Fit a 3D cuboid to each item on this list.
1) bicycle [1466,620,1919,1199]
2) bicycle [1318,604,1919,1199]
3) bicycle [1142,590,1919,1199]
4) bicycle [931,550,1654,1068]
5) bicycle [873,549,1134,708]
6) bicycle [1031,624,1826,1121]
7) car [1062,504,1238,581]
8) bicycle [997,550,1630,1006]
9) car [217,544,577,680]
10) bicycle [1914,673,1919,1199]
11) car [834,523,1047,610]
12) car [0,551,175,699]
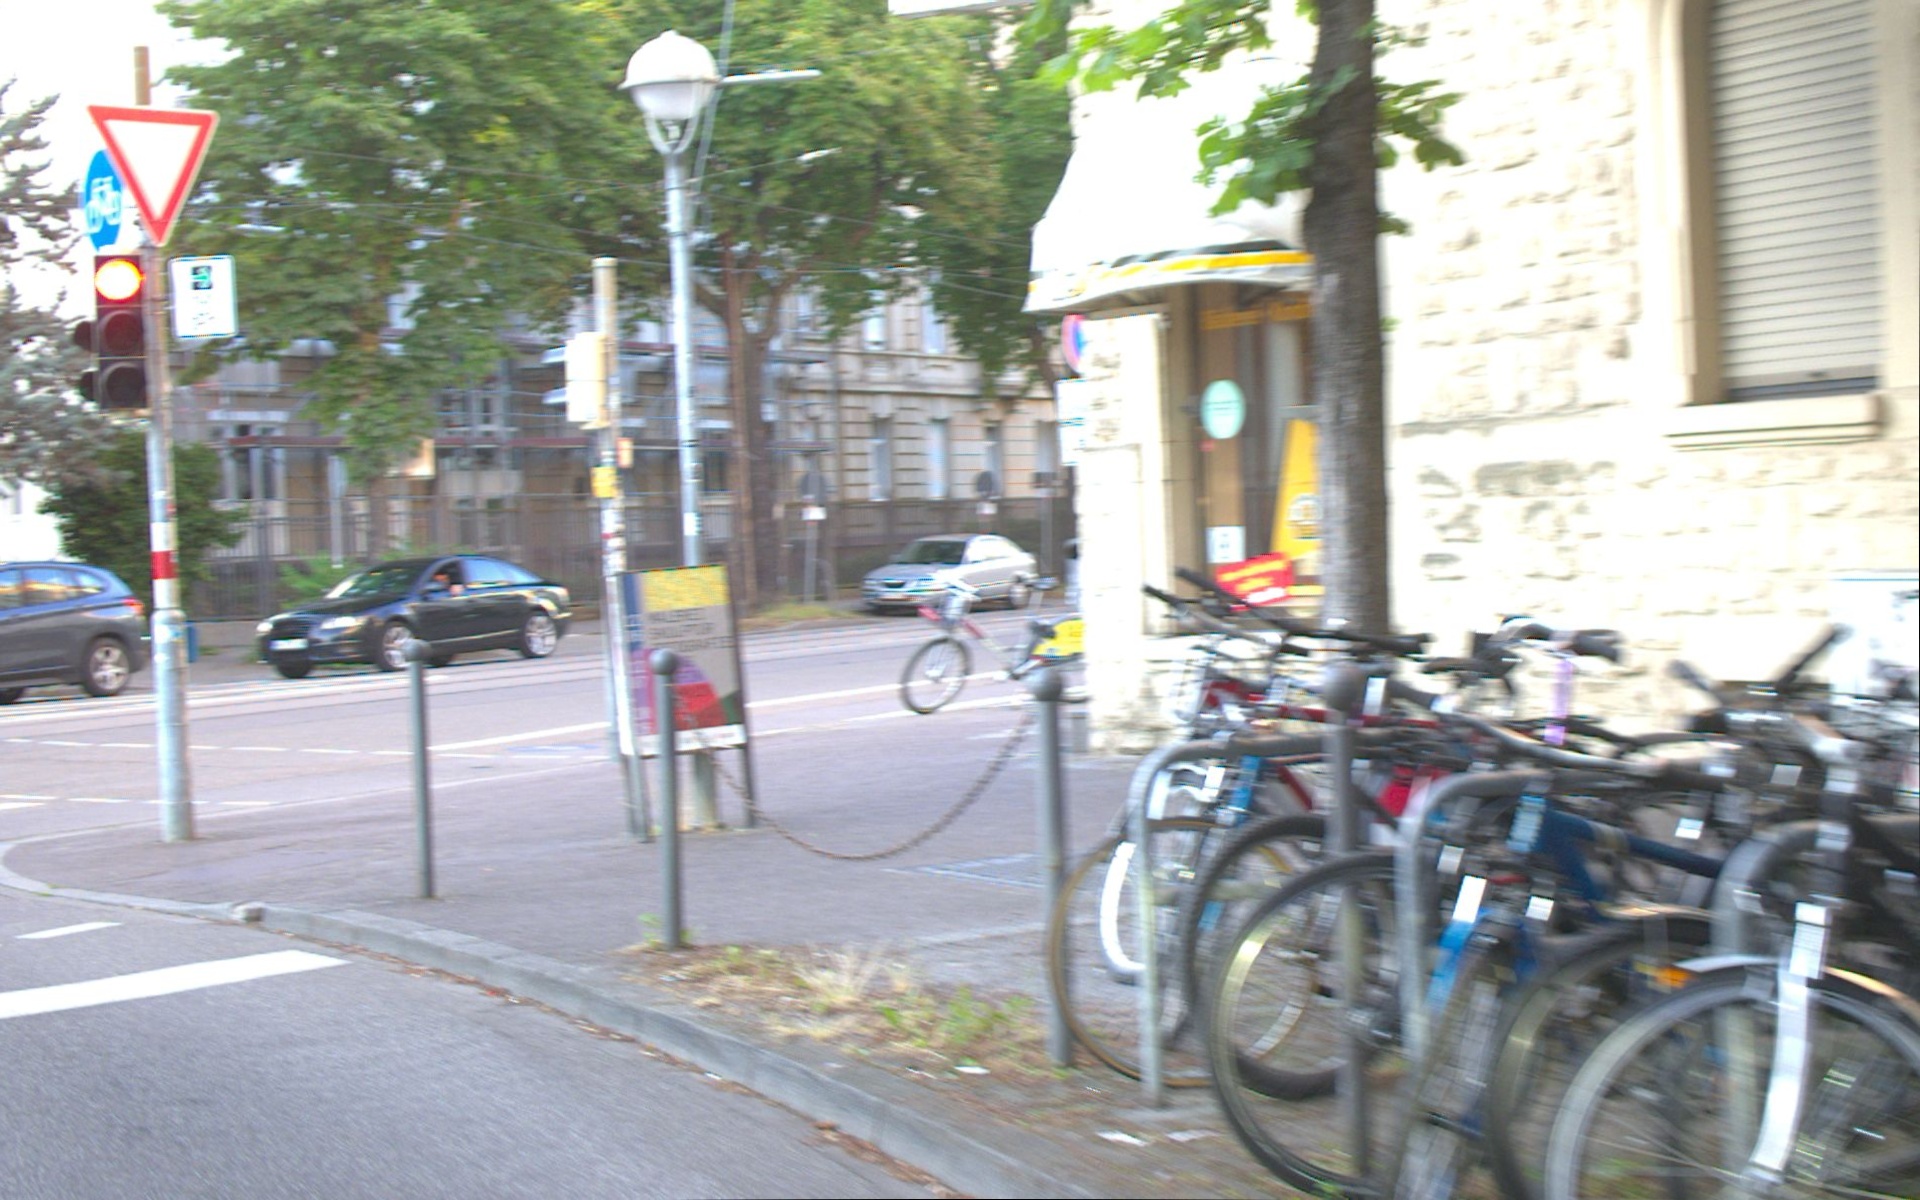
[{"bbox_3d":[1.879,0.616,5.720,1.885,1.158,0.705,-3,1,-12],"label":"bicycle"},{"bbox_3d":[1.693,0.604,6.459,1.885,1.158,0.641,-3,1,-12],"label":"bicycle"},{"bbox_3d":[1.389,0.602,7.148,1.885,1.158,0.641,-3,1,-22],"label":"bicycle"},{"bbox_3d":[0.903,0.519,9.309,1.787,1.232,0.700,-3,1,-22],"label":"bicycle"},{"bbox_3d":[0.325,0.210,26.374,1.871,1.126,0.732,-2,1,-8],"label":"bicycle"},{"bbox_3d":[1.159,0.626,8.481,1.801,1.034,0.700,-3,1,-22],"label":"bicycle"},{"bbox_3d":[4.057,-1.238,72.878,1.947,1.477,4.161,-1,2,31],"label":"car"},{"bbox_3d":[1.084,0.502,10.473,1.787,1.232,0.651,-3,1,-24],"label":"bicycle"},{"bbox_3d":[-7.111,0.128,43.881,1.947,1.504,4.624,-1,2,31],"label":"car"},{"bbox_3d":[2.113,0.650,4.368,1.669,1.124,0.486,-2,7,-5],"label":"bicycle"},{"bbox_3d":[-0.319,-0.638,63.813,2.007,1.422,4.626,-2,1,27],"label":"car"},{"bbox_3d":[-10.892,0.306,37.548,1.947,1.504,4.412,-1,2,31],"label":"car"}]
